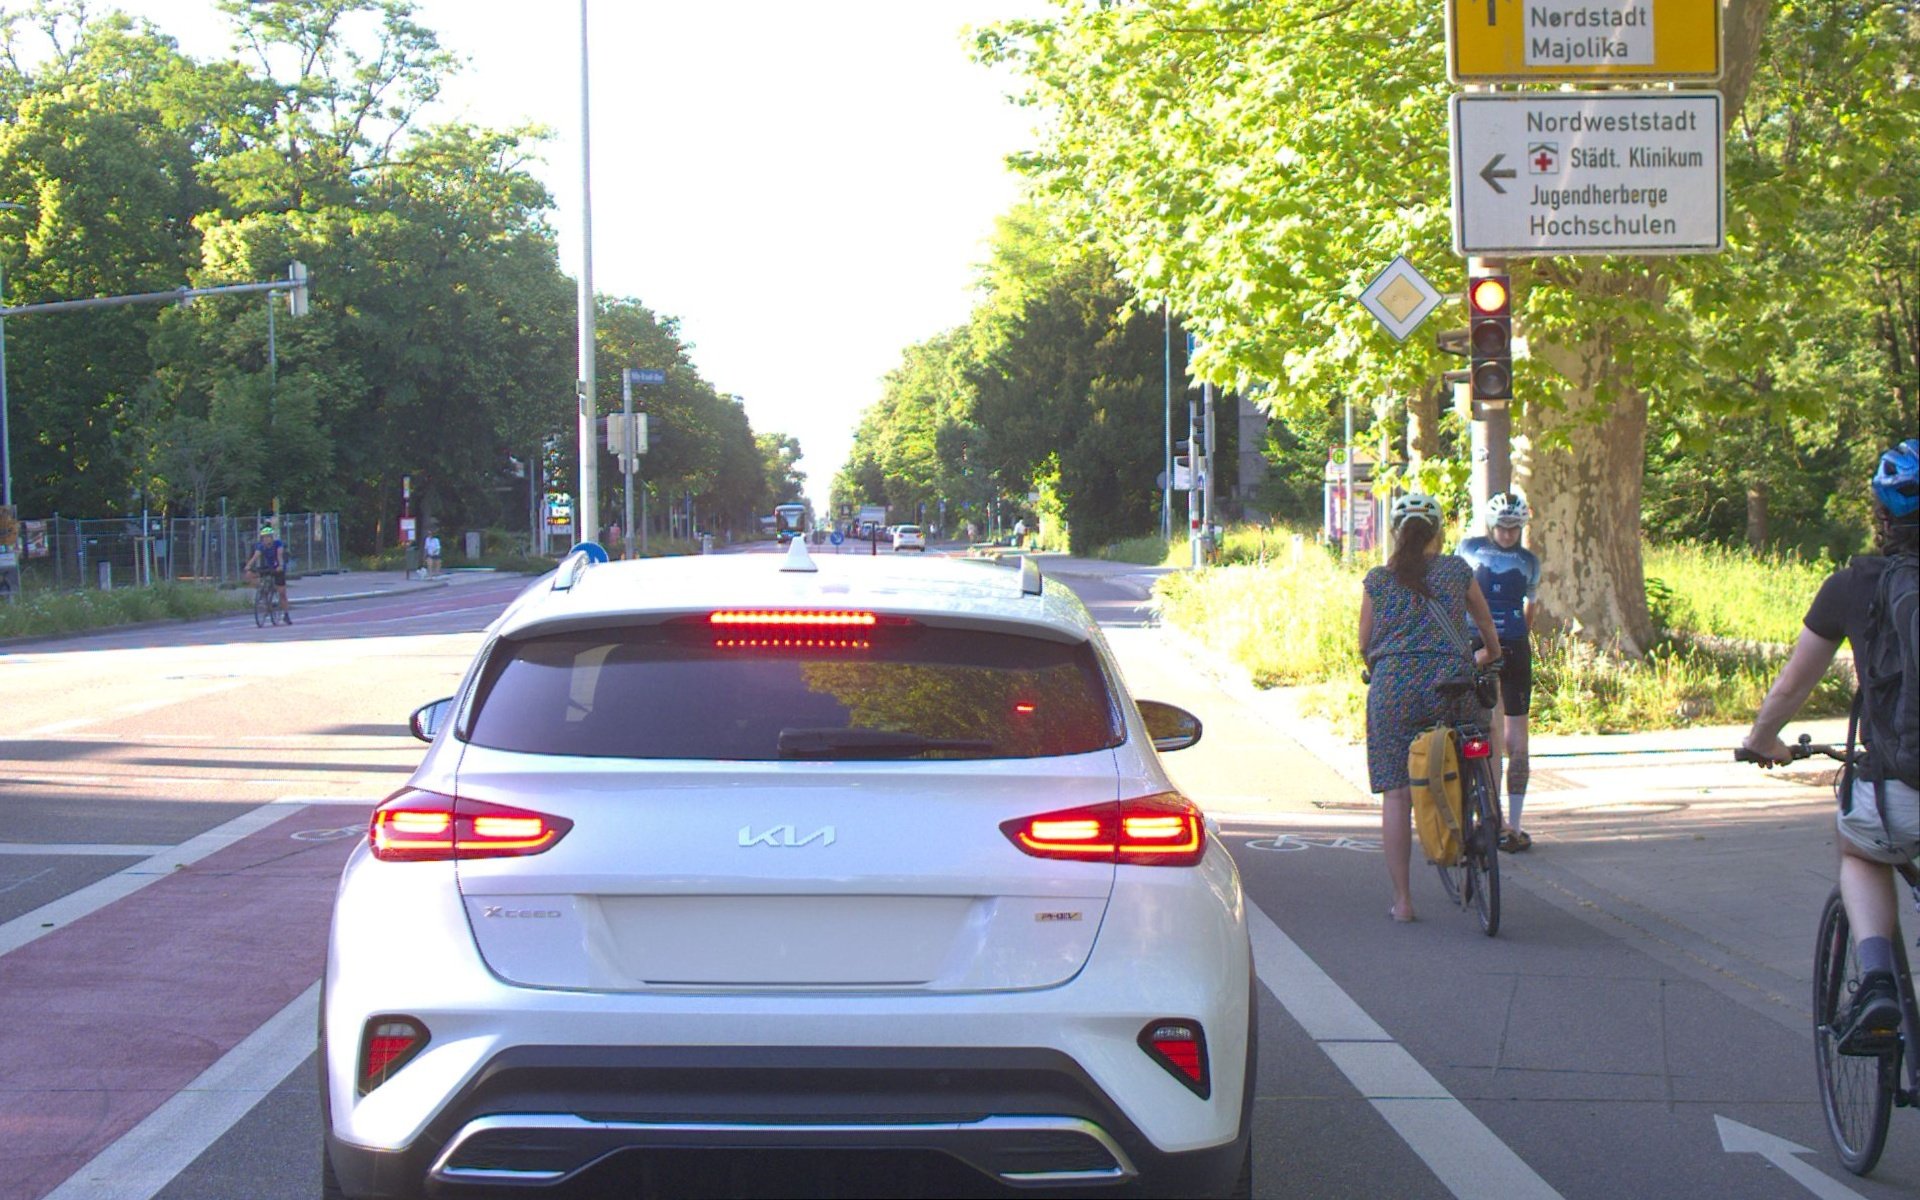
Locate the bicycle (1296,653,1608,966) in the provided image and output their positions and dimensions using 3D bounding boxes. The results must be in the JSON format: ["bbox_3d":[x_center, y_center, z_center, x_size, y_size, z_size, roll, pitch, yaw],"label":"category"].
[{"bbox_3d":[1.890,0.772,13.615,0.758,1.009,2.570,1,1,-2],"label":"bicycle"}]

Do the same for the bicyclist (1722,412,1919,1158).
[{"bbox_3d":[2.146,0.392,7.719,0.665,1.596,0.721,1,1,-2],"label":"bicyclist"}]

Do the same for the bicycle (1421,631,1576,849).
[{"bbox_3d":[2.598,0.655,16.691,0.401,0.953,1.551,-4,1,-2],"label":"bicycle"}]

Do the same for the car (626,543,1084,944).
[{"bbox_3d":[-0.470,0.520,14.983,1.728,1.478,3.517,-1,1,-2],"label":"car"}]

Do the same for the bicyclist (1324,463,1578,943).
[{"bbox_3d":[1.903,0.376,13.482,0.753,1.789,1.165,1,1,-2],"label":"bicyclist"}]

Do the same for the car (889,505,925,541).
[{"bbox_3d":[-3.040,-4.459,198.229,1.993,2.007,4.000,-2,1,-1],"label":"car"}]

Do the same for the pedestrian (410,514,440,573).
[{"bbox_3d":[-16.317,-1.722,104.821,0.785,1.779,0.751,0,1,0],"label":"pedestrian"}]

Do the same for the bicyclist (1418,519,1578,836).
[{"bbox_3d":[2.597,0.363,16.657,0.554,1.473,0.717,-4,1,-2],"label":"bicyclist"}]

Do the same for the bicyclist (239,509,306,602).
[{"bbox_3d":[-12.154,-0.800,60.780,0.875,1.603,1.188,-1,1,1],"label":"bicyclist"}]

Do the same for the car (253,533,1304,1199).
[{"bbox_3d":[-0.378,0.596,7.950,1.821,1.475,3.937,0,1,-2],"label":"car"}]

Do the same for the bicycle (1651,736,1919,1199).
[{"bbox_3d":[2.139,0.878,7.732,0.668,1.006,2.081,1,1,-2],"label":"bicycle"}]

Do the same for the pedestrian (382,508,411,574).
[{"bbox_3d":[-17.198,-1.790,105.002,0.641,2.007,0.753,0,1,13],"label":"pedestrian"}]

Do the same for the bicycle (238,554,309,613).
[{"bbox_3d":[-12.139,-0.305,60.863,0.663,0.985,2.504,-1,1,2],"label":"bicycle"}]
